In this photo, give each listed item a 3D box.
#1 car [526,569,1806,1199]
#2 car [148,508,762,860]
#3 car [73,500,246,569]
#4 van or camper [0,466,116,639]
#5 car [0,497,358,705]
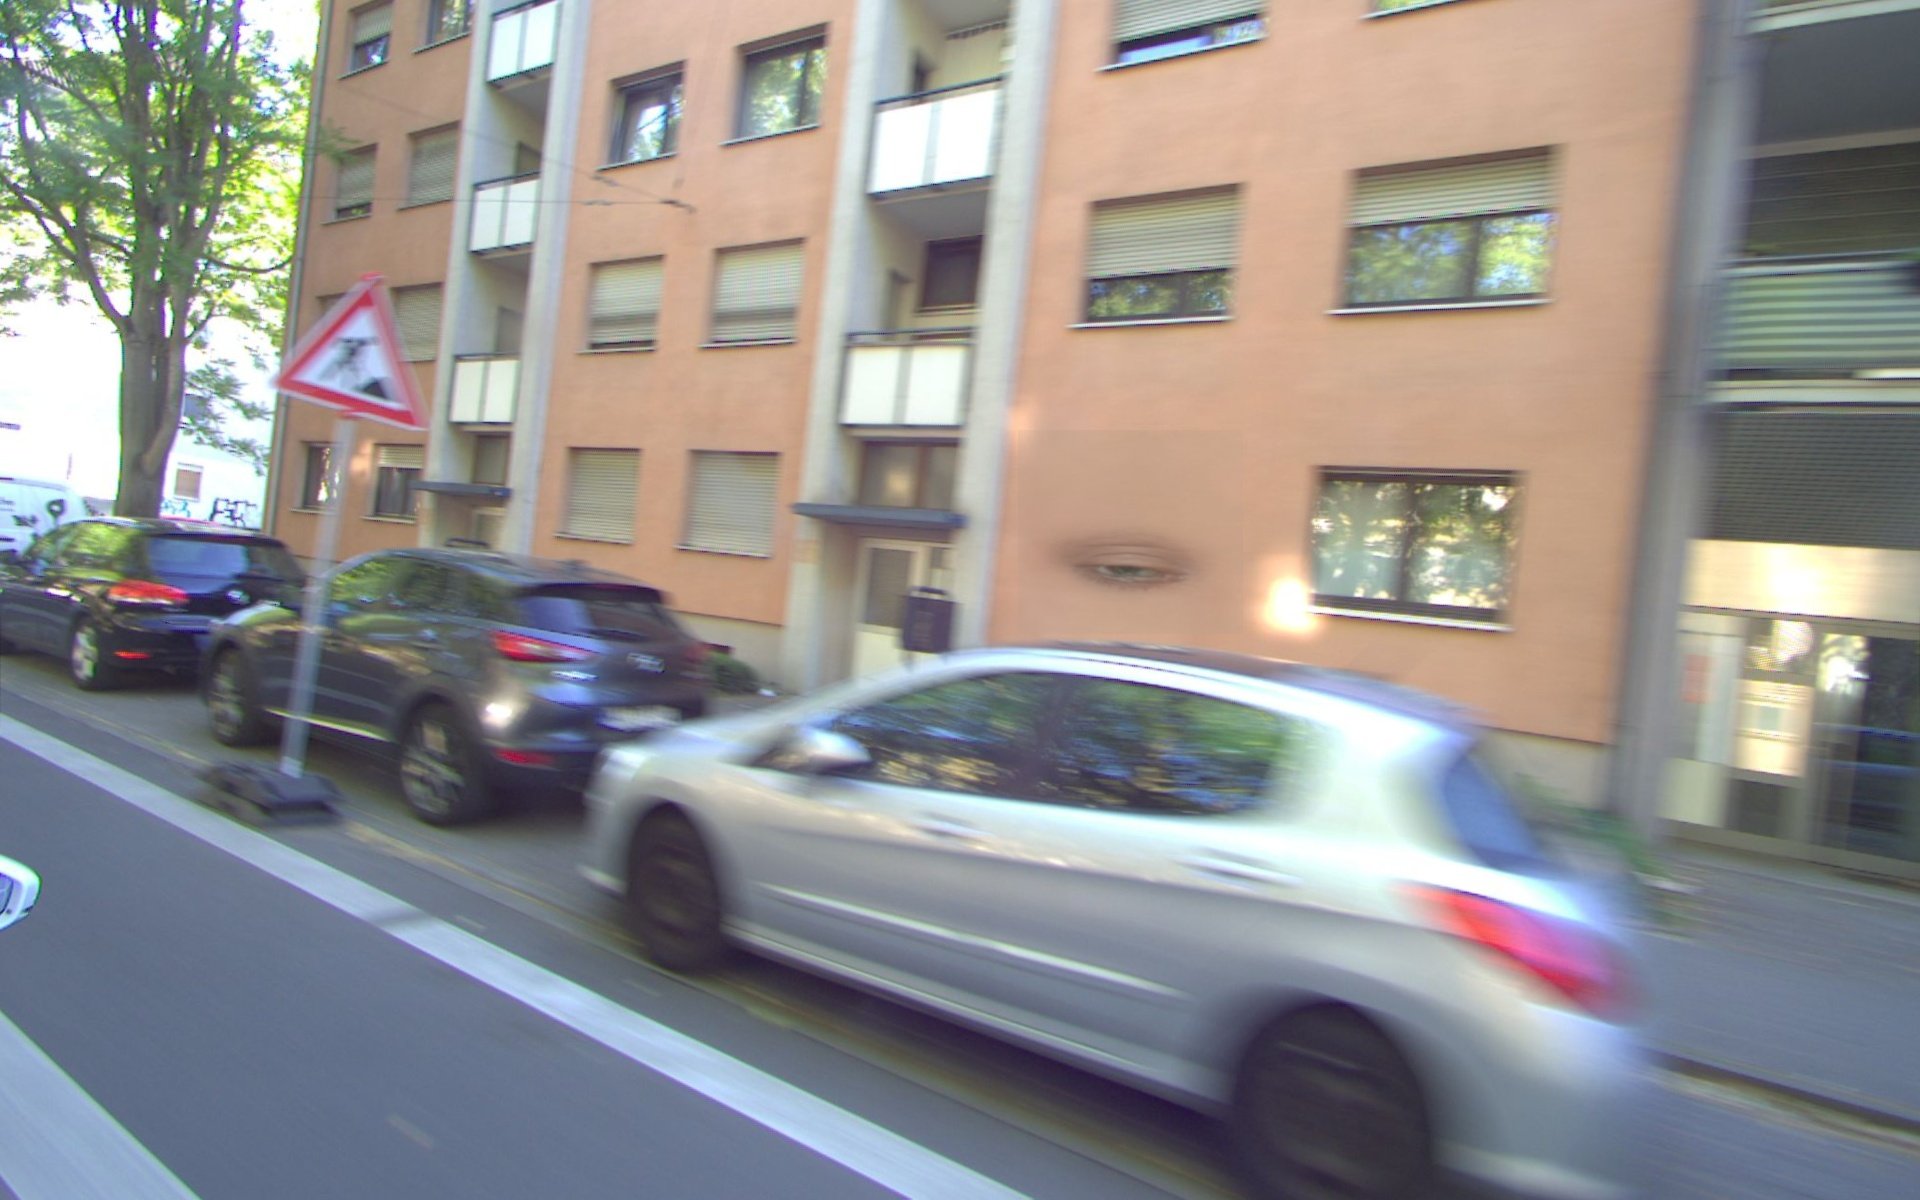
[{"bbox_3d":[0.407,0.877,4.075,4.250,1.542,1.789,7,2,32],"label":"car"},{"bbox_3d":[-3.628,0.370,6.991,4.265,1.593,1.768,7,2,32],"label":"car"},{"bbox_3d":[-25.351,-2.037,32.012,1.535,1.500,3.920,10,1,31],"label":"car"},{"bbox_3d":[-12.663,-0.766,12.573,4.750,1.887,1.757,7,0,32],"label":"van or camper"},{"bbox_3d":[-7.819,-0.060,9.677,4.099,1.491,1.707,7,0,32],"label":"car"}]
